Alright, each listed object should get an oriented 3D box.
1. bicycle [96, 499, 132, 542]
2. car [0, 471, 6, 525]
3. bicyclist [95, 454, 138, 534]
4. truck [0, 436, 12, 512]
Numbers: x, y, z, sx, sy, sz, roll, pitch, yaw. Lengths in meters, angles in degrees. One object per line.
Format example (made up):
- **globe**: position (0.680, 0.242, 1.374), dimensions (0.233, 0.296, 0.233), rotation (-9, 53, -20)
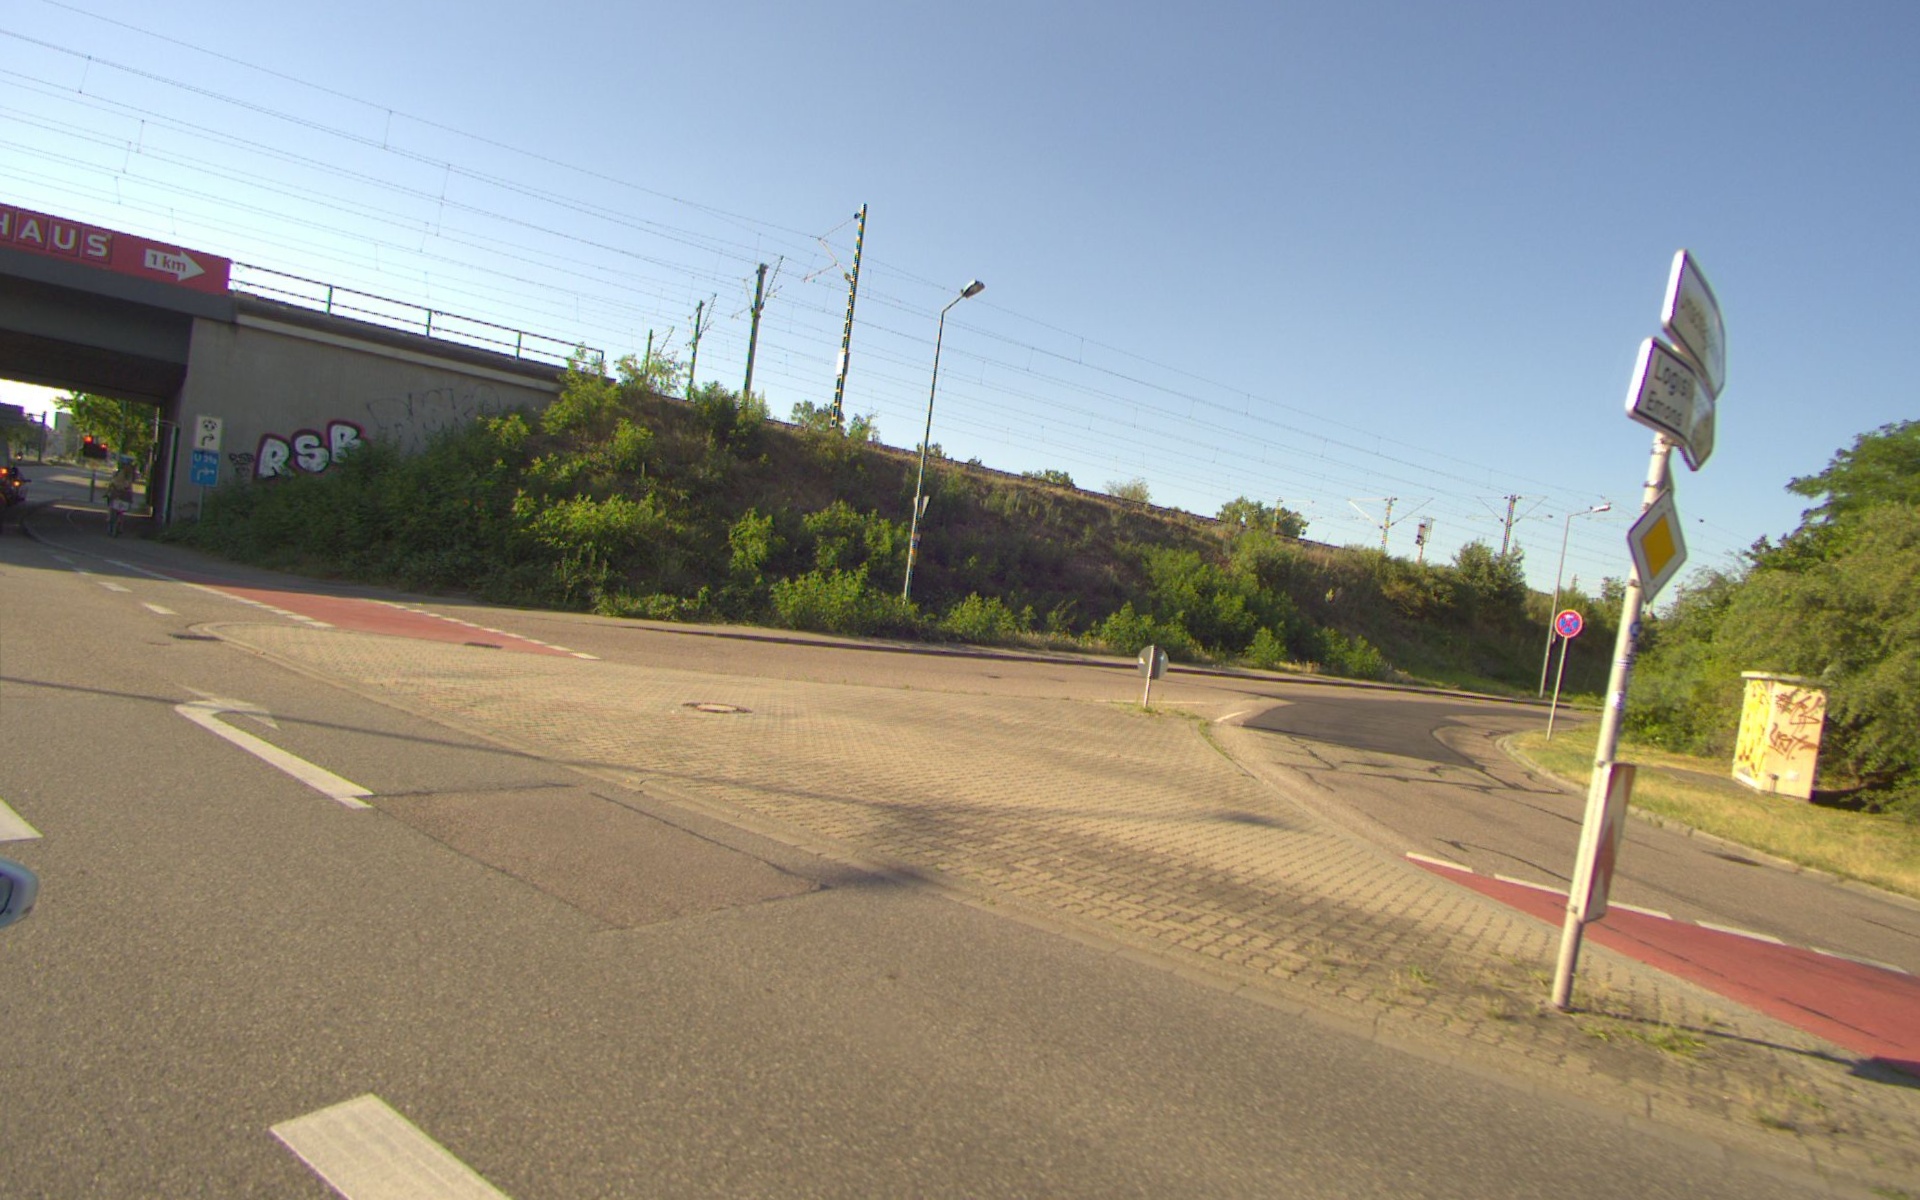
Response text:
- **bicycle**: position (-21.924, -2.073, 26.088), dimensions (0.576, 0.975, 2.854), rotation (7, 0, -39)
- **car**: position (-24.380, -2.522, 24.307), dimensions (1.737, 1.472, 4.545), rotation (8, 1, -45)
- **bicyclist**: position (-21.855, -2.734, 26.076), dimensions (0.679, 1.930, 0.824), rotation (7, 1, -39)
- **truck**: position (-34.725, -4.538, 35.220), dimensions (2.104, 2.552, 4.346), rotation (5, 1, -44)
